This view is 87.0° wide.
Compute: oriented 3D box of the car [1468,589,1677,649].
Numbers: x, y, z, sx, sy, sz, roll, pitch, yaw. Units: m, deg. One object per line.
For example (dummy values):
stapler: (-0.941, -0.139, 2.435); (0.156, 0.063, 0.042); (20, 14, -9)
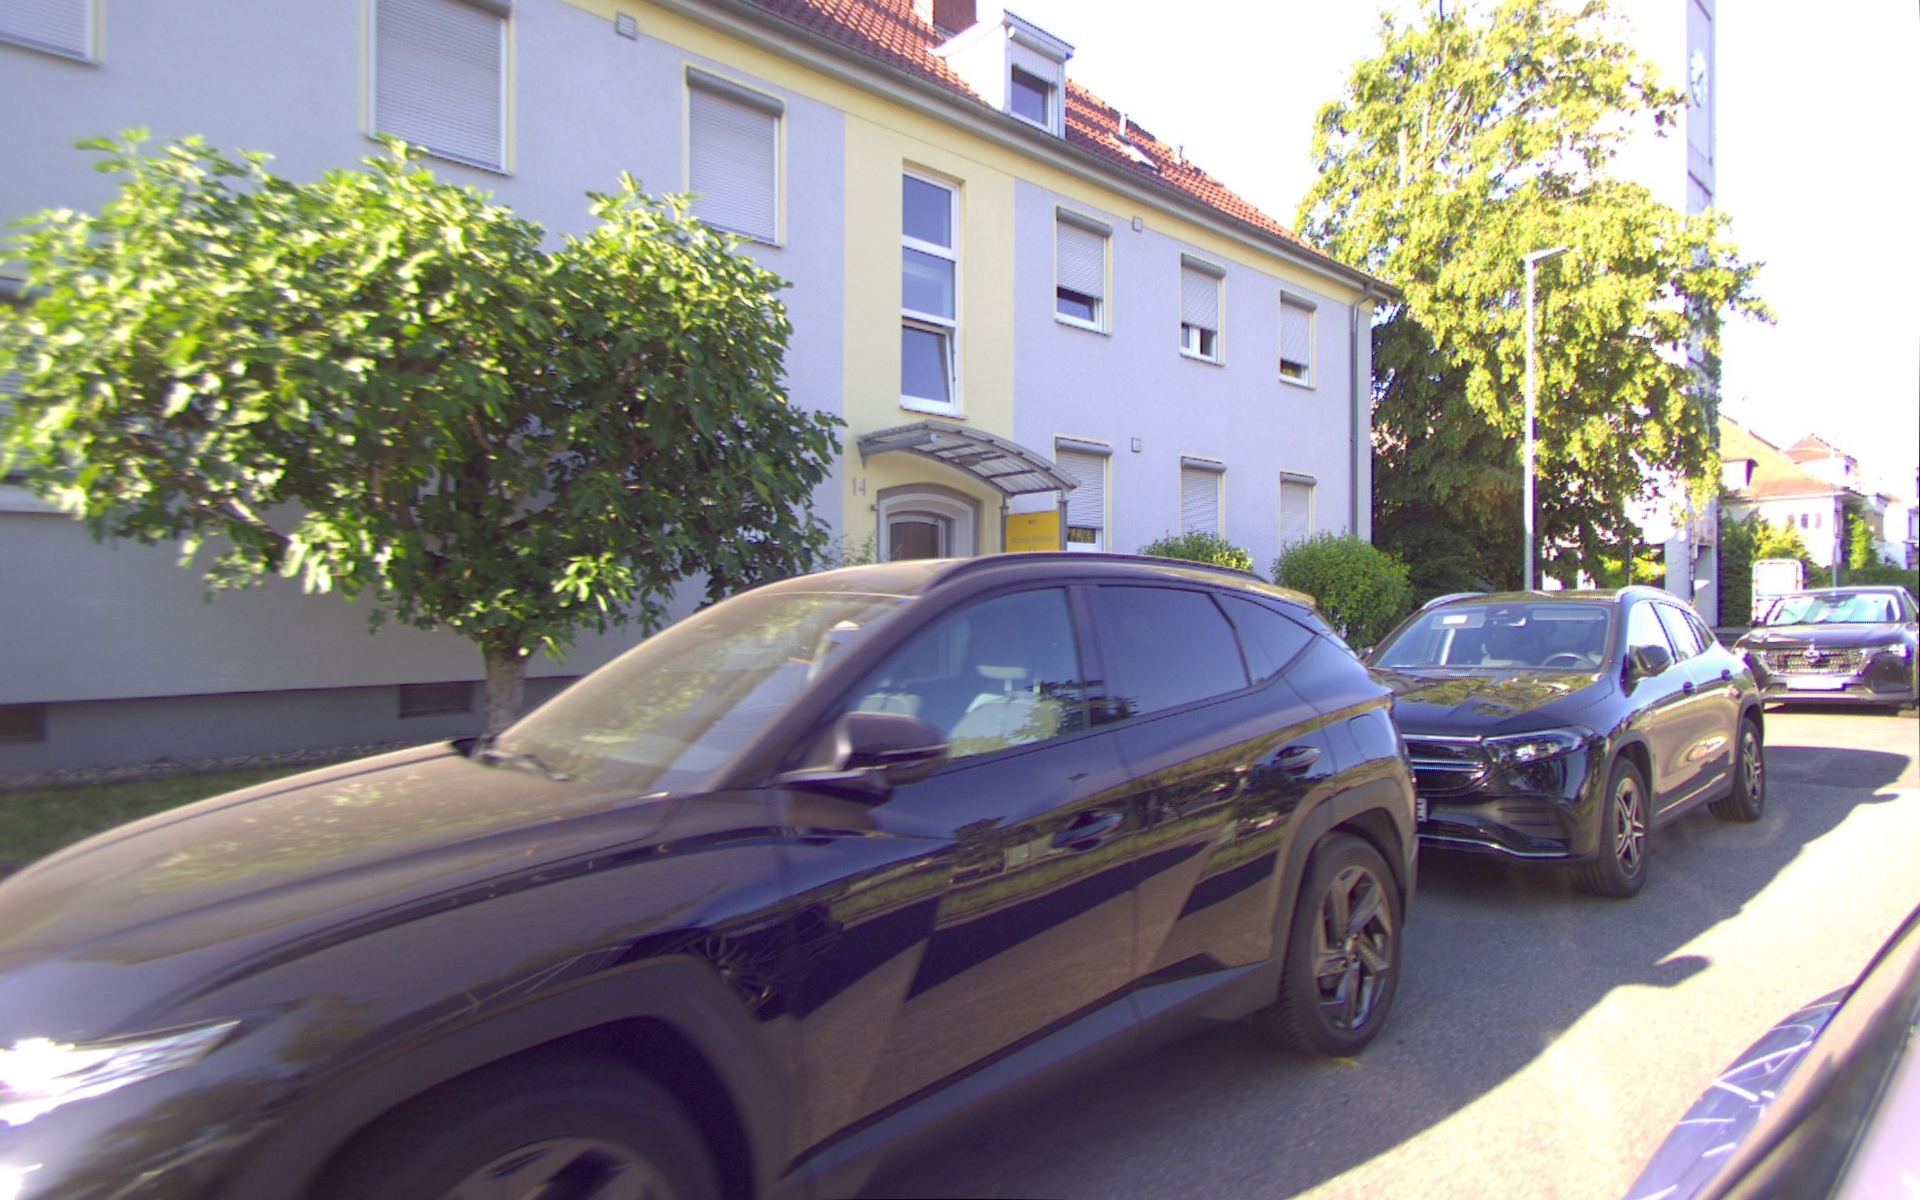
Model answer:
car: (17.812, 0.511, 29.636); (1.969, 1.504, 4.855); (-5, 3, -40)

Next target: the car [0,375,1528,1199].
car: (-0.214, 0.595, 3.091); (4.734, 1.678, 1.857); (0, -1, -40)

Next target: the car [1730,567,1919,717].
car: (12.526, 0.478, 14.116); (4.944, 1.754, 1.835); (-1, -1, -41)

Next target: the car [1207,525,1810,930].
car: (3.792, 0.581, 6.600); (4.540, 1.743, 1.936); (0, -2, -41)
